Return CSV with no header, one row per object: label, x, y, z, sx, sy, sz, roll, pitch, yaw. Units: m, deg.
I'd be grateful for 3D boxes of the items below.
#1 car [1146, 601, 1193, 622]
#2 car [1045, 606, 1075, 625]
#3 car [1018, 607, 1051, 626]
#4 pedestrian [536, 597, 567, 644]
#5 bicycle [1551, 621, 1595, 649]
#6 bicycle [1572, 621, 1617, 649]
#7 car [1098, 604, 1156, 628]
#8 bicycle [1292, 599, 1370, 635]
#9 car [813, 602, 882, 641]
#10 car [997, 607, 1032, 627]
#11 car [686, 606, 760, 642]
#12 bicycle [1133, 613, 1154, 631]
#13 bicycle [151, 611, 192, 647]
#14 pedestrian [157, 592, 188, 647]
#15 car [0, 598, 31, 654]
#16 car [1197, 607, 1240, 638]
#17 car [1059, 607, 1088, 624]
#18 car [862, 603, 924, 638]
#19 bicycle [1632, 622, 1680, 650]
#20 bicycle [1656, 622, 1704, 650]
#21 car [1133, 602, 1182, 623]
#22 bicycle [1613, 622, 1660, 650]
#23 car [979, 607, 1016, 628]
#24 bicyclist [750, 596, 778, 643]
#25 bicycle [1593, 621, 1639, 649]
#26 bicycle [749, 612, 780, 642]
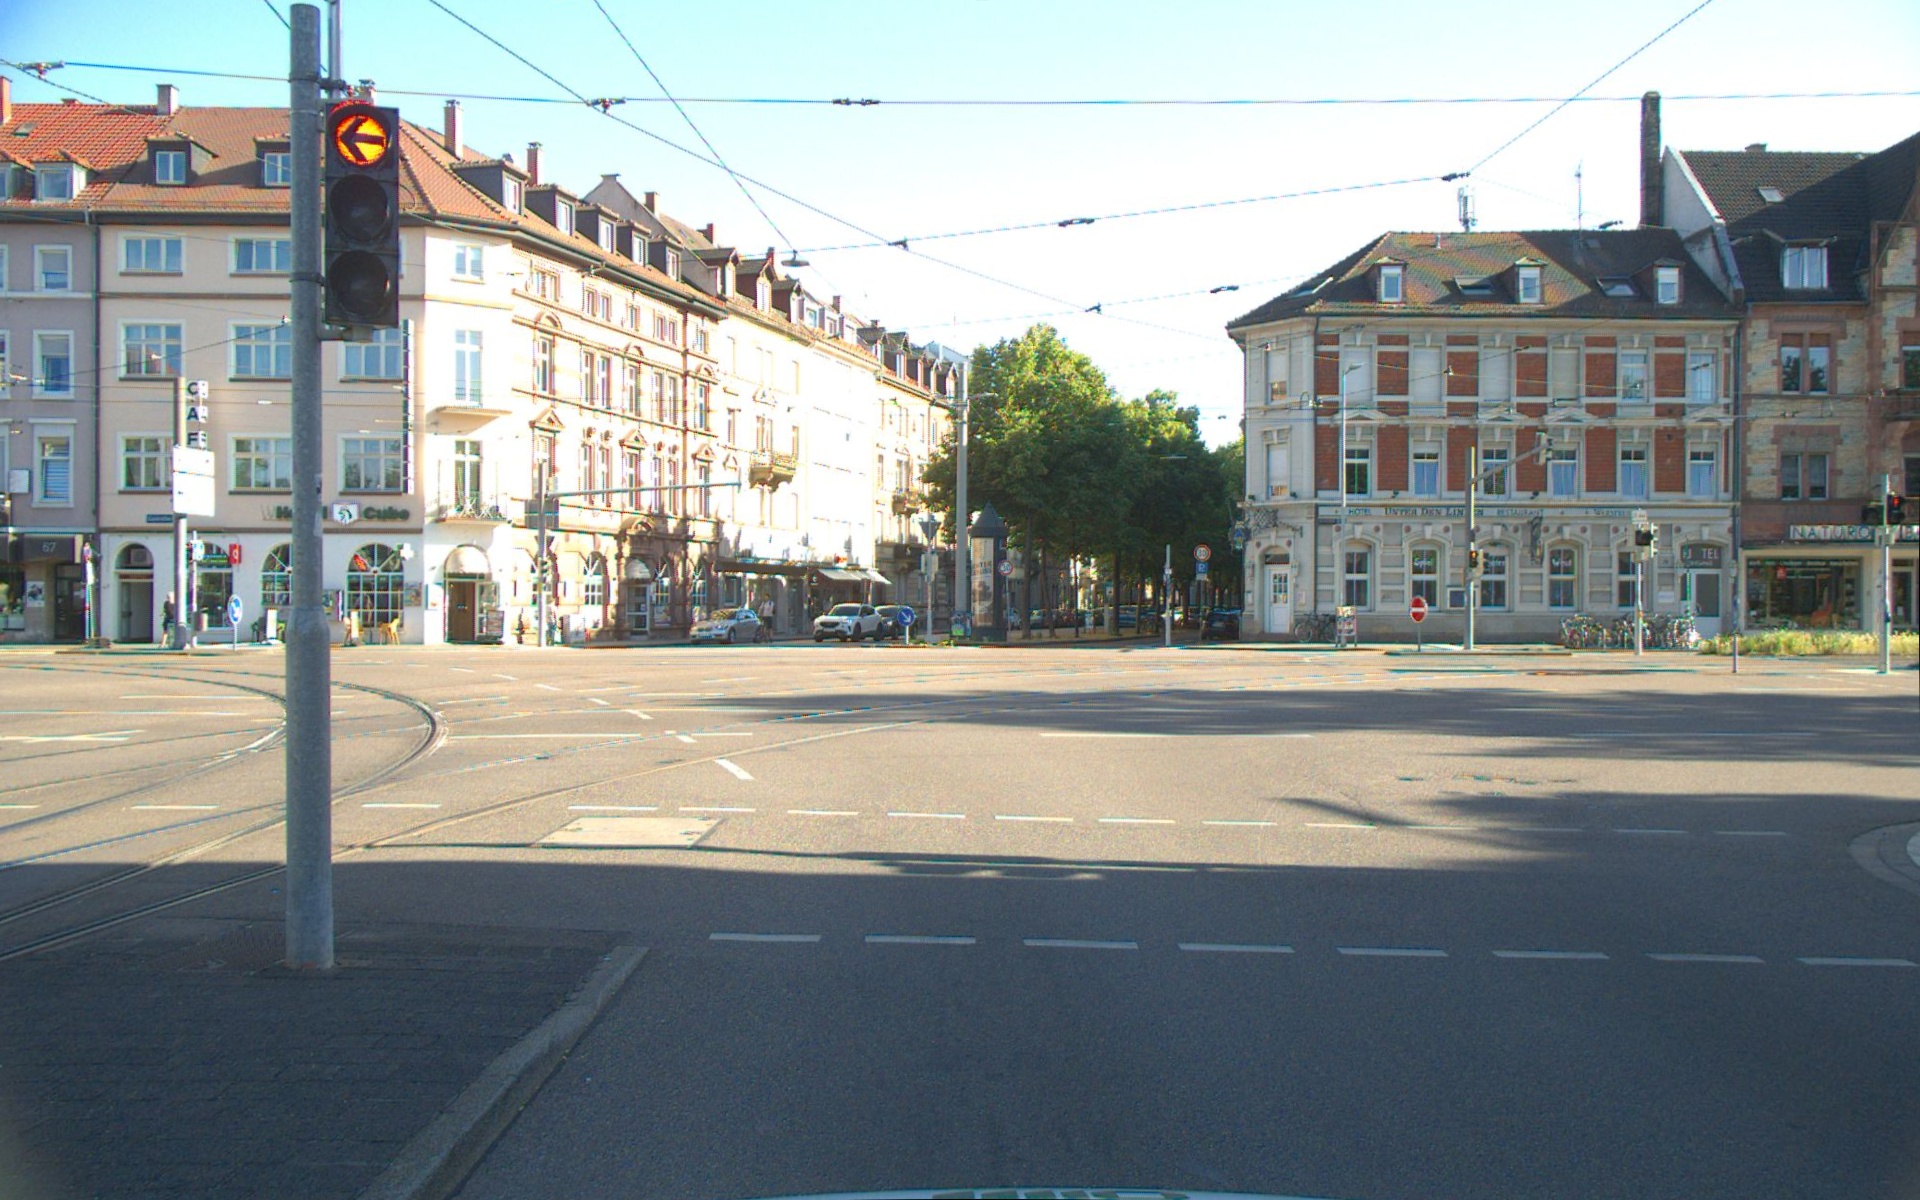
car,16.945,0.887,133.746,3.503,1.677,1.684,0,0,16
car,7.895,1.216,130.843,1.642,1.378,3.593,0,0,16
car,5.536,1.187,122.501,1.642,1.378,3.593,0,0,16
pedestrian,-14.749,0.734,59.690,0.759,1.699,0.831,1,-1,15
bicycle,19.763,1.109,53.367,0.645,0.855,2.160,1,0,0
bicycle,20.482,1.122,53.454,0.645,0.855,2.160,1,0,0
car,11.717,1.117,115.833,3.819,1.677,1.684,0,0,16
bicycle,12.868,0.590,57.457,2.504,1.194,0.818,1,-1,-4
car,-4.533,0.844,67.226,1.642,1.509,3.774,0,0,16
car,3.824,1.160,115.514,1.642,1.378,3.593,0,0,16
car,-9.538,0.934,66.745,1.642,1.378,3.593,0,0,16
bicycle,11.054,1.297,99.626,0.625,1.039,1.840,1,0,-14
bicycle,-24.679,0.890,51.806,0.561,1.096,1.497,1,0,-1
pedestrian,-24.675,0.594,51.830,0.570,1.699,0.752,1,-1,-1
car,-32.150,0.790,52.257,4.276,1.741,2.306,1,0,1
car,12.960,1.107,82.748,1.642,1.509,3.950,0,0,16
car,9.320,1.252,135.895,1.642,1.378,3.593,0,0,16
car,-2.946,0.888,73.551,1.642,1.509,3.950,0,0,16
bicycle,22.493,1.157,53.481,0.645,0.855,2.160,1,0,0
bicycle,23.281,1.170,53.526,0.645,0.855,2.160,1,0,0
car,15.322,0.961,128.246,3.503,1.677,1.684,0,0,16
bicycle,21.865,1.146,53.501,0.645,0.855,2.160,1,0,0
car,2.567,1.140,111.339,1.642,1.378,3.593,0,0,16
bicyclist,-7.712,0.767,65.004,0.761,1.834,1.056,1,-1,13
bicycle,21.194,1.134,53.468,0.645,0.855,2.160,1,0,0
bicycle,-7.679,1.048,65.126,0.687,1.137,1.636,1,0,13
